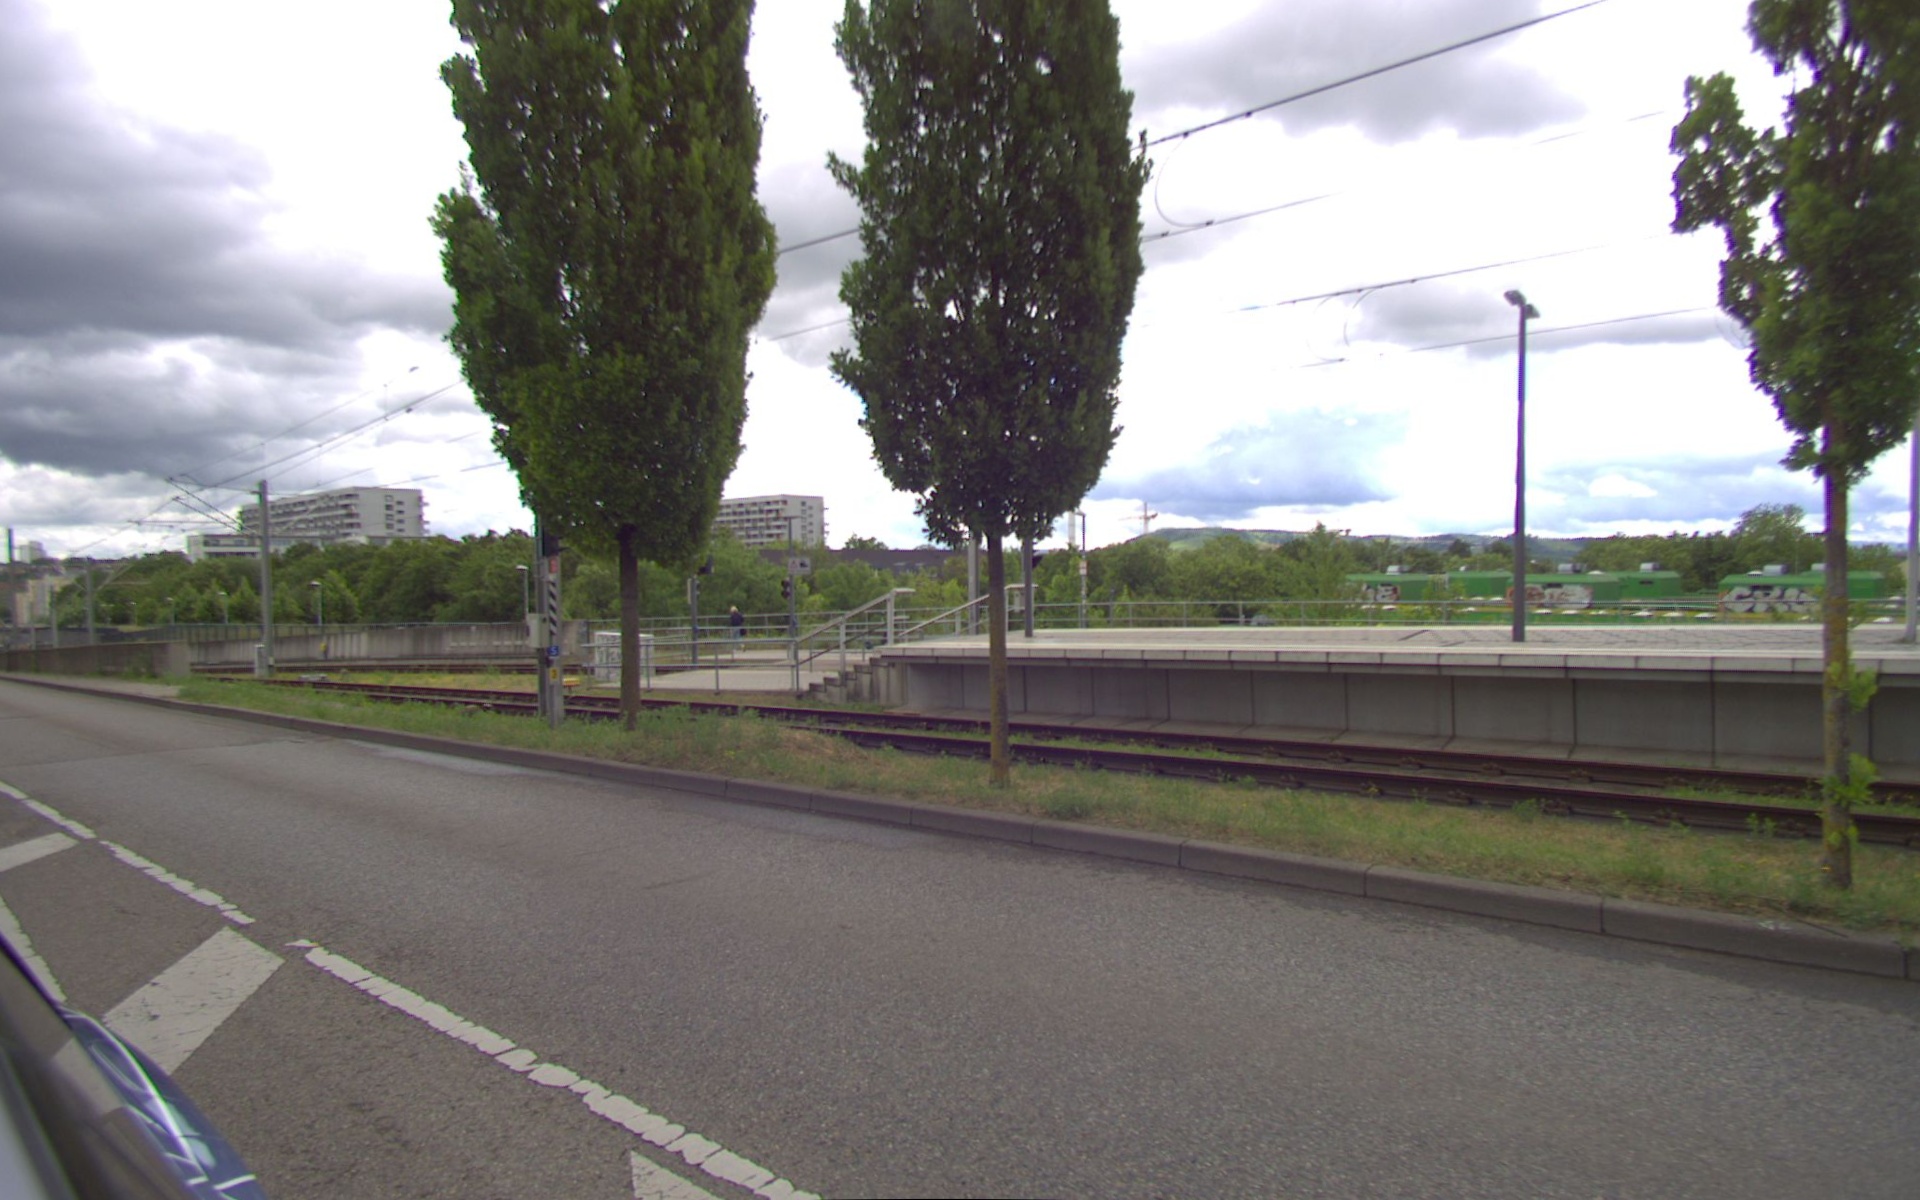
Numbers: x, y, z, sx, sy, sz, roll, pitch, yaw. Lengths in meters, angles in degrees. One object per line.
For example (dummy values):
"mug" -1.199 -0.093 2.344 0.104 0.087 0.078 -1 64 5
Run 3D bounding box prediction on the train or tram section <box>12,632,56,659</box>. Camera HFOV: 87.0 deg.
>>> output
"train or tram section" -120.444 5.963 131.474 18.473 3.218 2.751 -3 -1 43

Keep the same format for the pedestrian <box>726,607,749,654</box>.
"pedestrian" -7.989 1.089 36.310 0.646 1.637 0.502 -3 -2 42
